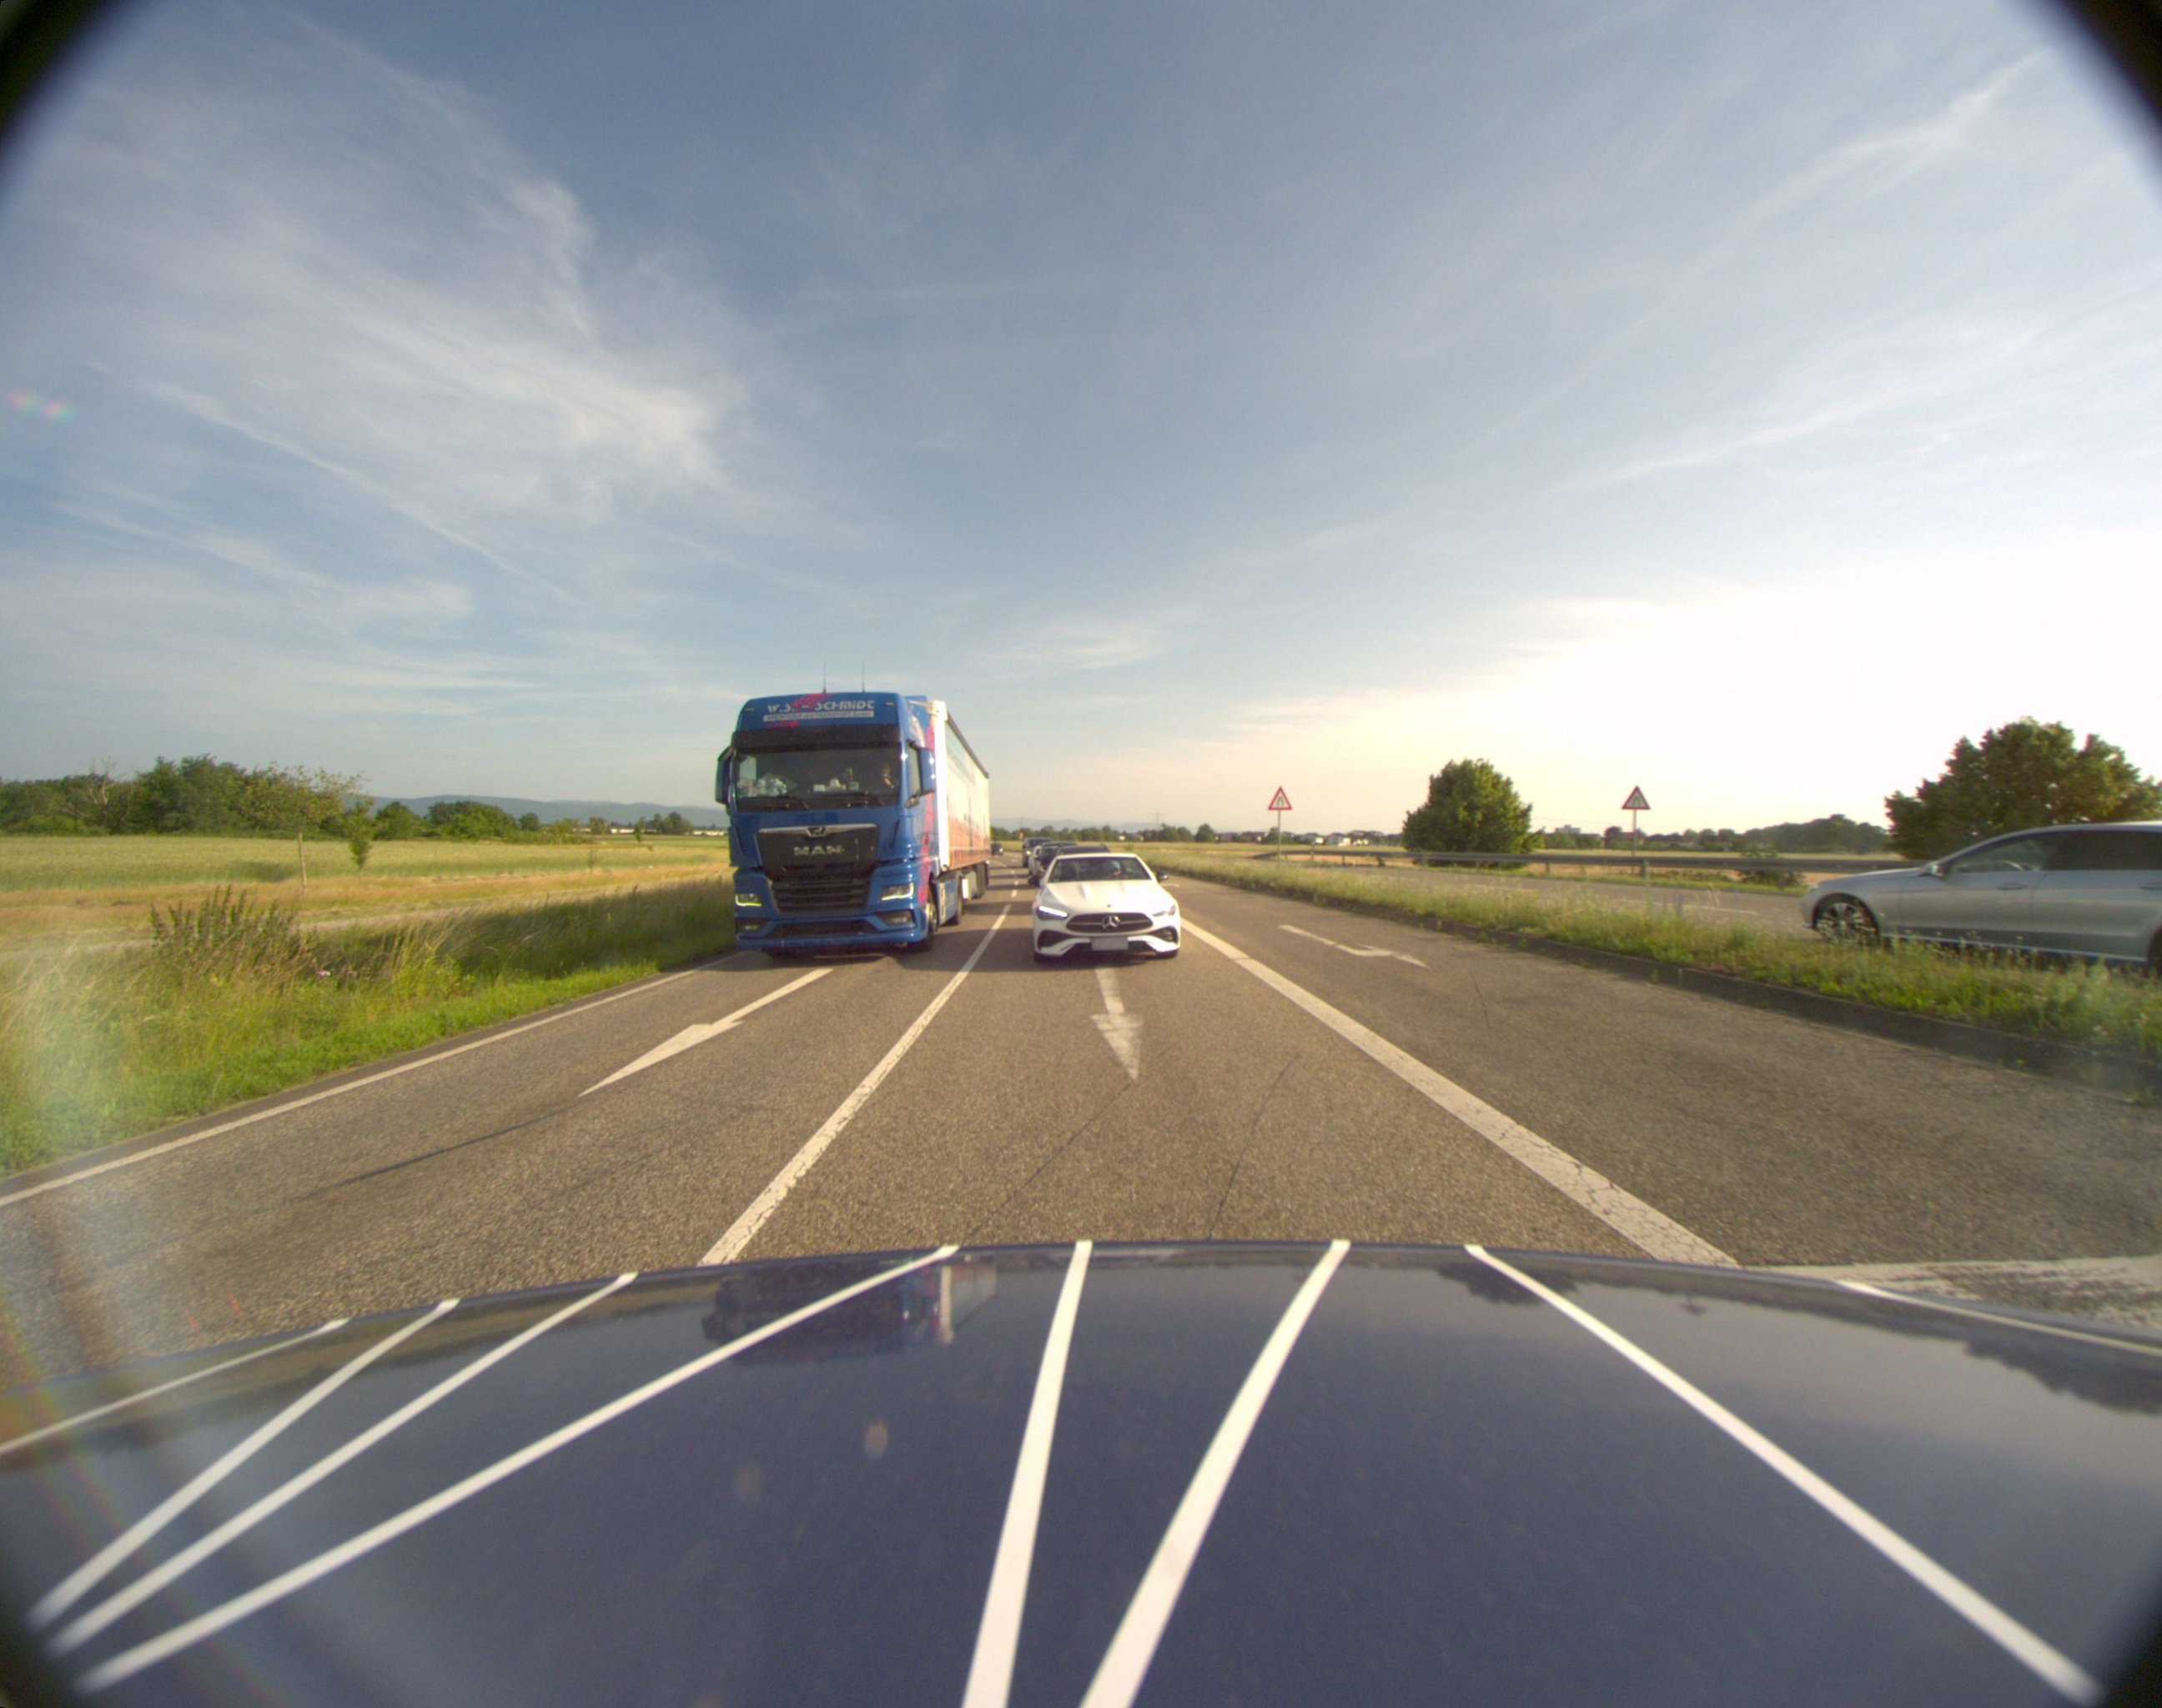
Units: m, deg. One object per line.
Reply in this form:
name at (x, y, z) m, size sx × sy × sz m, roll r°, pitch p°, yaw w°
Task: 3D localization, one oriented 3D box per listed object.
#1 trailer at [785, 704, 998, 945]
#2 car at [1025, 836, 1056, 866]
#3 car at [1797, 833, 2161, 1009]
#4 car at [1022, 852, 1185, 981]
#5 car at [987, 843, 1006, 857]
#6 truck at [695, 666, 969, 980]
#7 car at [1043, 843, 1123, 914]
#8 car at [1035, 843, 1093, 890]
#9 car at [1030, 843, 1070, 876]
trailer at (-3.931, -0.649, 19.711) m, size 2.652 × 3.956 × 13.923 m, roll -2°, pitch 1°, yaw -3°
car at (-2.638, -0.209, 48.451) m, size 1.831 × 1.831 × 3.997 m, roll -1°, pitch 1°, yaw -4°
car at (9.851, 0.533, 7.069) m, size 1.932 × 1.427 × 4.699 m, roll -1°, pitch 1°, yaw 0°
car at (0.272, 0.726, 10.916) m, size 1.875 × 1.390 × 4.203 m, roll -1°, pitch 1°, yaw 0°
car at (-10.129, -0.490, 90.852) m, size 2.000 × 1.525 × 3.995 m, roll -1°, pitch 1°, yaw -11°
truck at (-3.576, -0.458, 12.611) m, size 2.652 × 3.897 × 5.947 m, roll -2°, pitch 2°, yaw -3°
car at (-0.047, 0.523, 18.853) m, size 1.752 × 1.521 × 3.998 m, roll -1°, pitch 1°, yaw -3°
car at (-0.671, 0.376, 27.159) m, size 1.831 × 1.521 × 3.997 m, roll -1°, pitch 1°, yaw -4°
car at (-1.490, 0.219, 35.558) m, size 1.695 × 1.407 × 3.997 m, roll -1°, pitch 1°, yaw -4°
